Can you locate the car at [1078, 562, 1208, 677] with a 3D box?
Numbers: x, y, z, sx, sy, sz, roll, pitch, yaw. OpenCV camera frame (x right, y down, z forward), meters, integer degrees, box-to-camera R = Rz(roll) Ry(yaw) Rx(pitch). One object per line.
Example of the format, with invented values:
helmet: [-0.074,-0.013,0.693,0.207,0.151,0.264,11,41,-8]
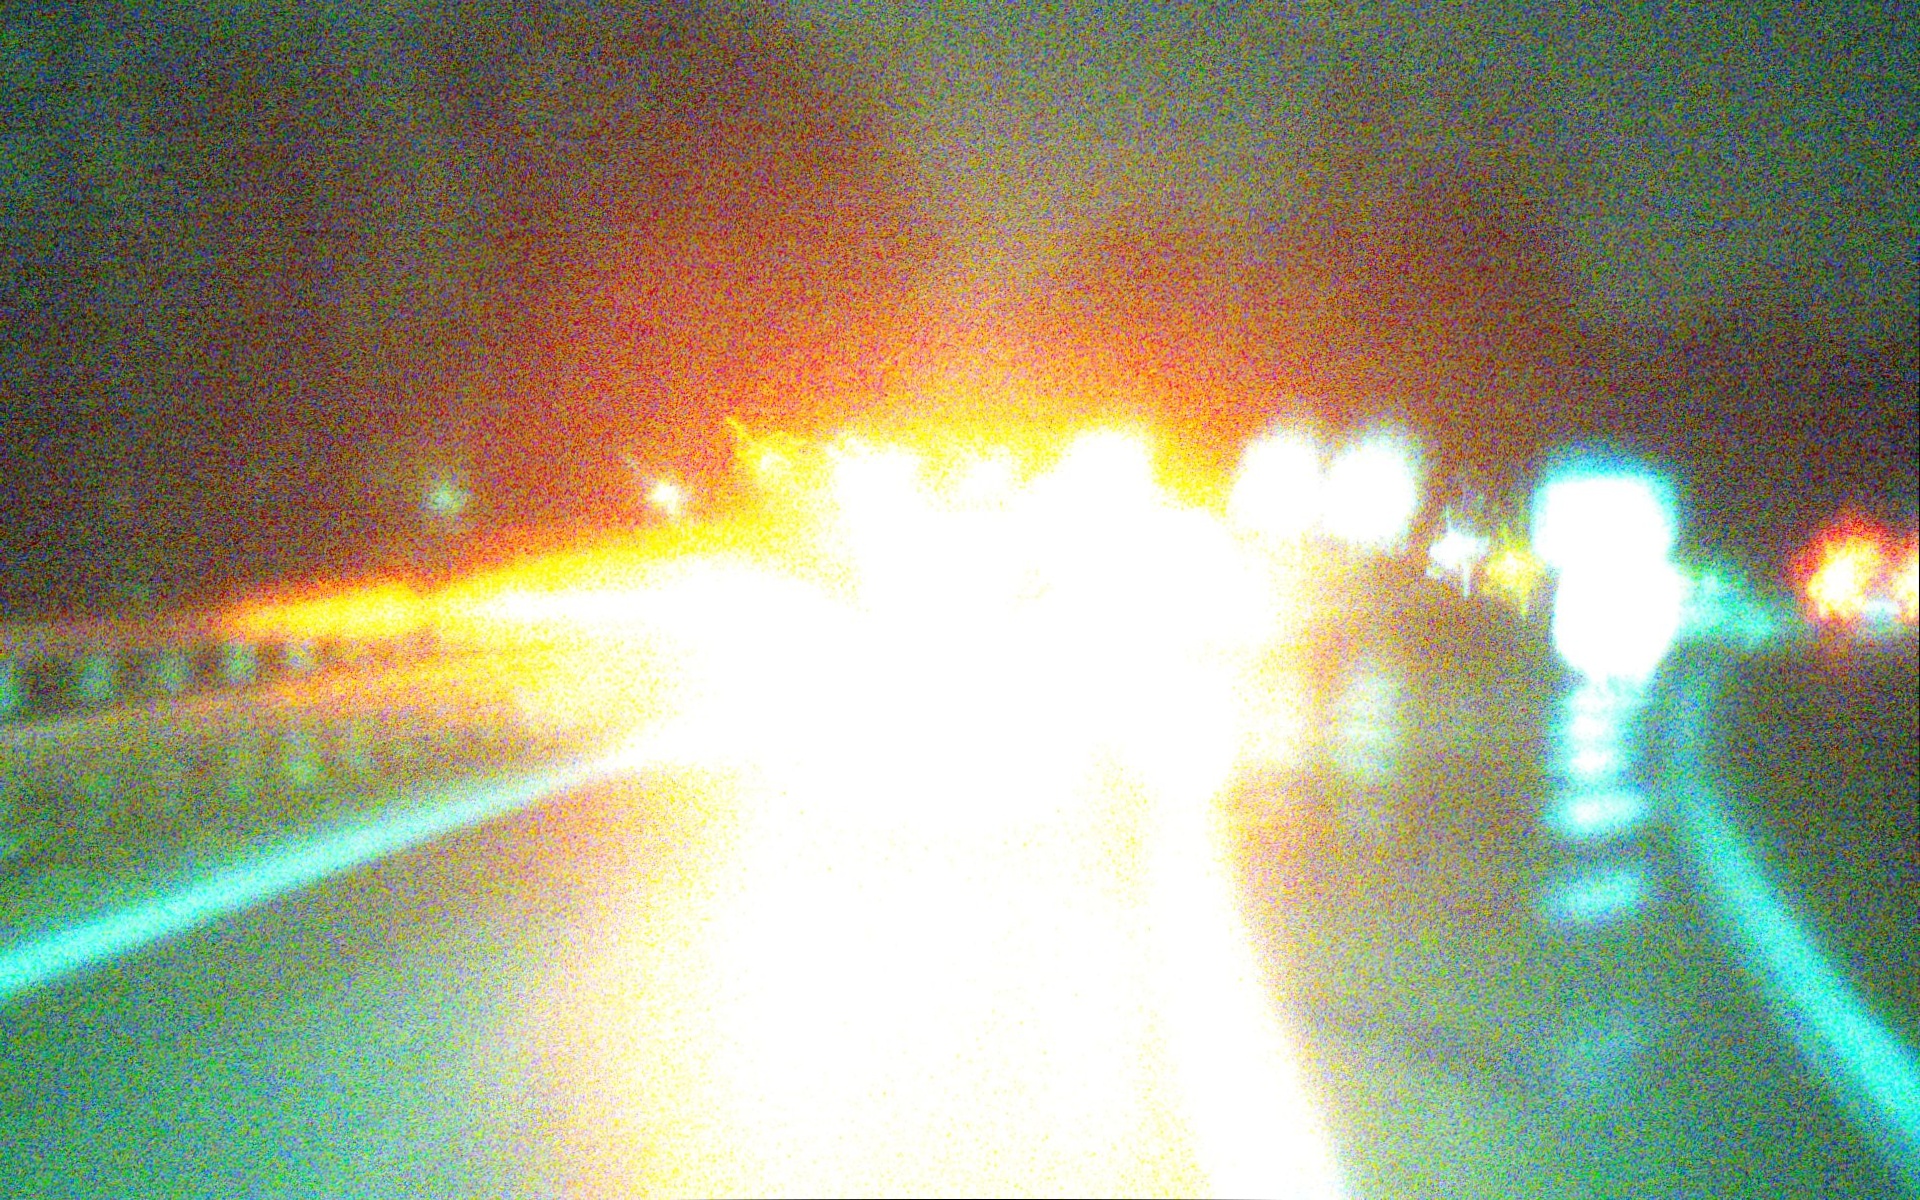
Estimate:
car: [2.884,0.304,53.532,1.895,1.715,4.045,0,0,5]

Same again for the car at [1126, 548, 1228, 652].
car: [4.418,0.016,69.479,1.896,2.033,4.044,0,-1,6]

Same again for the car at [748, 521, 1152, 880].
car: [-0.041,0.444,18.142,1.860,1.641,4.069,1,1,0]

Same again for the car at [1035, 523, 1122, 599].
car: [3.143,-1.011,91.746,1.895,1.991,4.046,0,0,-4]
